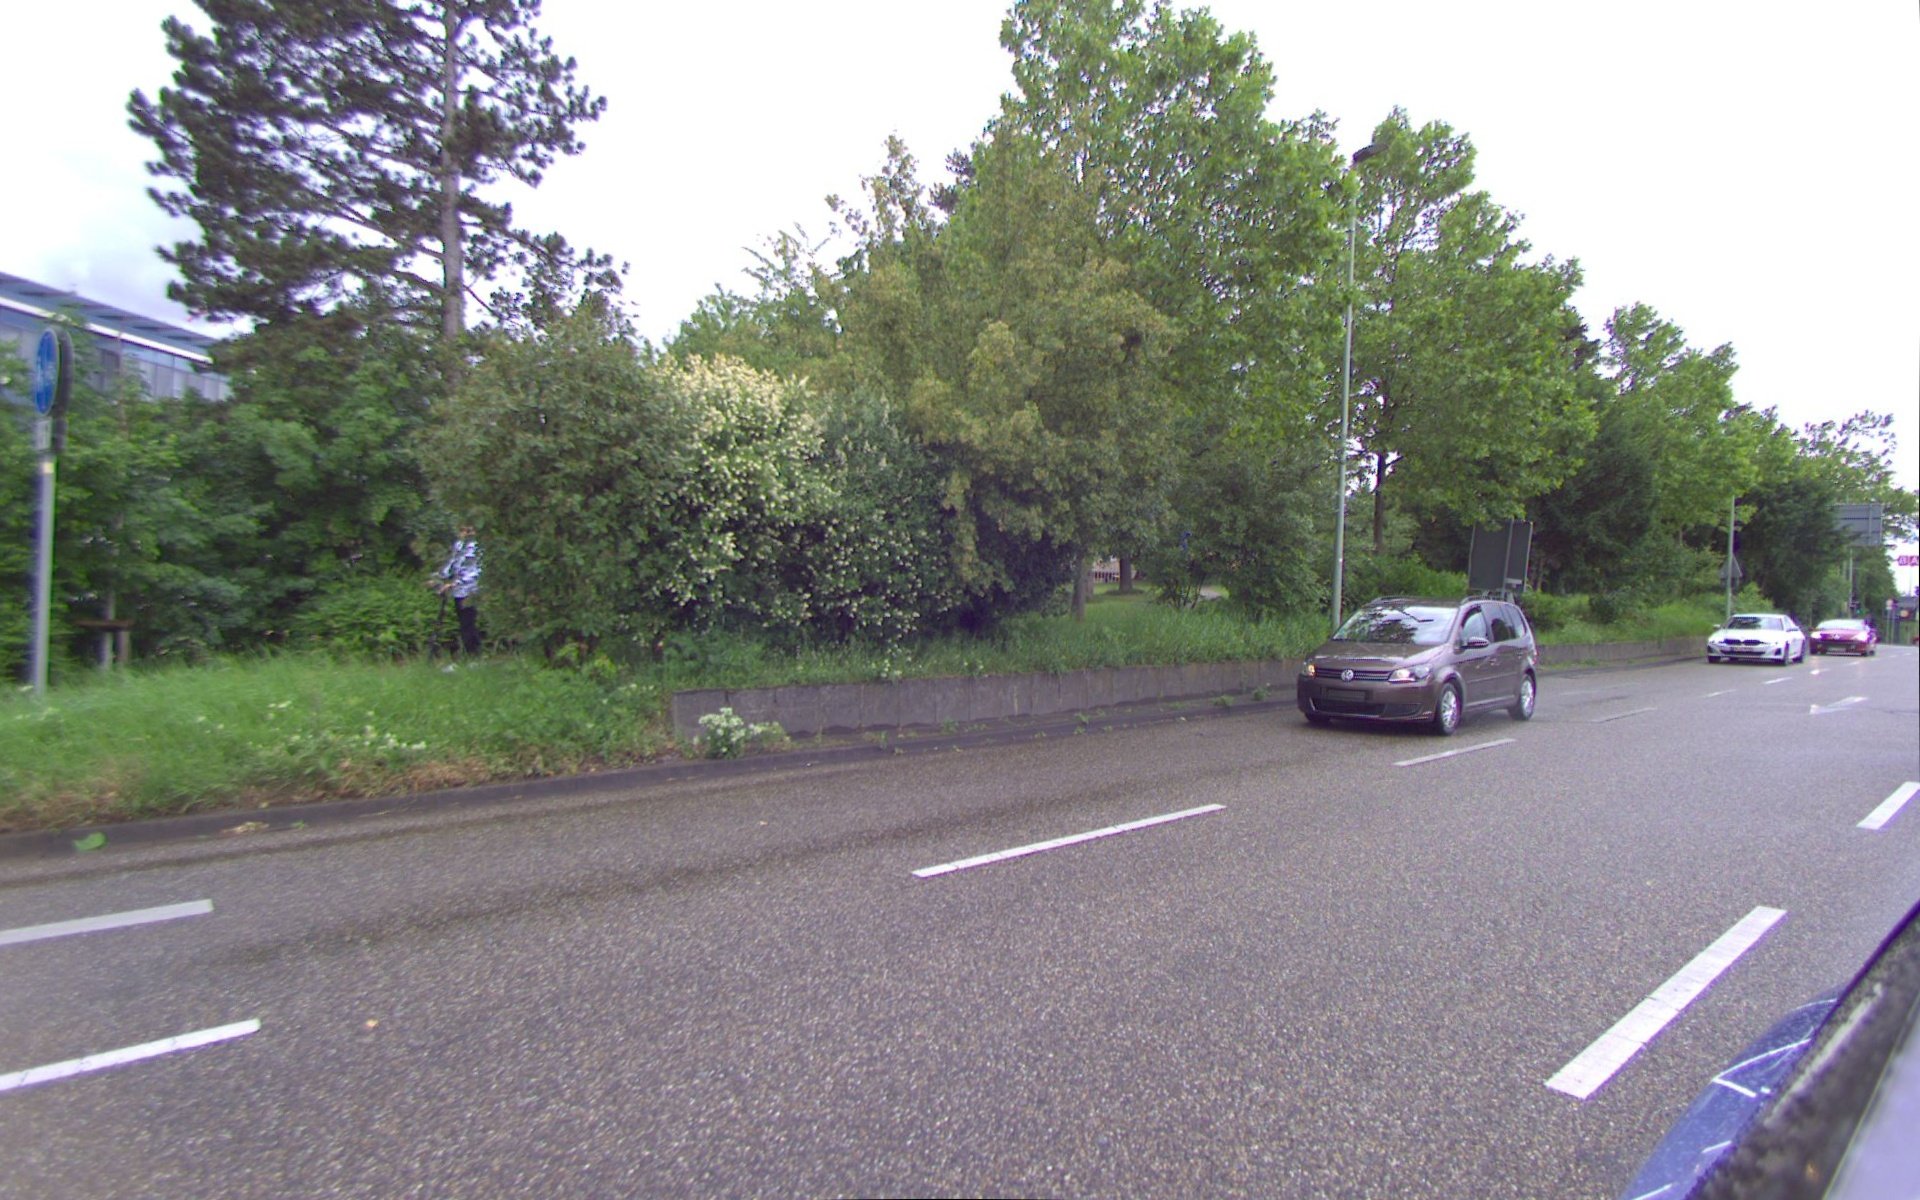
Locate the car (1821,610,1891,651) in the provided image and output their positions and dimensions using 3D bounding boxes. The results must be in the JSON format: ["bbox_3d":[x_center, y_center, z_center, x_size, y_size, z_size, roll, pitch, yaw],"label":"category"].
[{"bbox_3d":[33.896,1.121,38.262,3.626,1.420,1.627,0,1,-42],"label":"car"}]

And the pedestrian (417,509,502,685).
[{"bbox_3d":[-5.981,-0.046,12.102,0.655,2.027,0.707,2,2,42],"label":"pedestrian"}]

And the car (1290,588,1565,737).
[{"bbox_3d":[6.057,0.661,12.922,3.998,1.595,1.738,0,1,-42],"label":"car"}]

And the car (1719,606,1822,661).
[{"bbox_3d":[23.893,0.934,29.781,4.231,1.445,1.667,0,1,-42],"label":"car"}]

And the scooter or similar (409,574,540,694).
[{"bbox_3d":[-5.878,0.380,12.294,0.461,1.378,1.364,2,2,41],"label":"scooter or similar"}]
